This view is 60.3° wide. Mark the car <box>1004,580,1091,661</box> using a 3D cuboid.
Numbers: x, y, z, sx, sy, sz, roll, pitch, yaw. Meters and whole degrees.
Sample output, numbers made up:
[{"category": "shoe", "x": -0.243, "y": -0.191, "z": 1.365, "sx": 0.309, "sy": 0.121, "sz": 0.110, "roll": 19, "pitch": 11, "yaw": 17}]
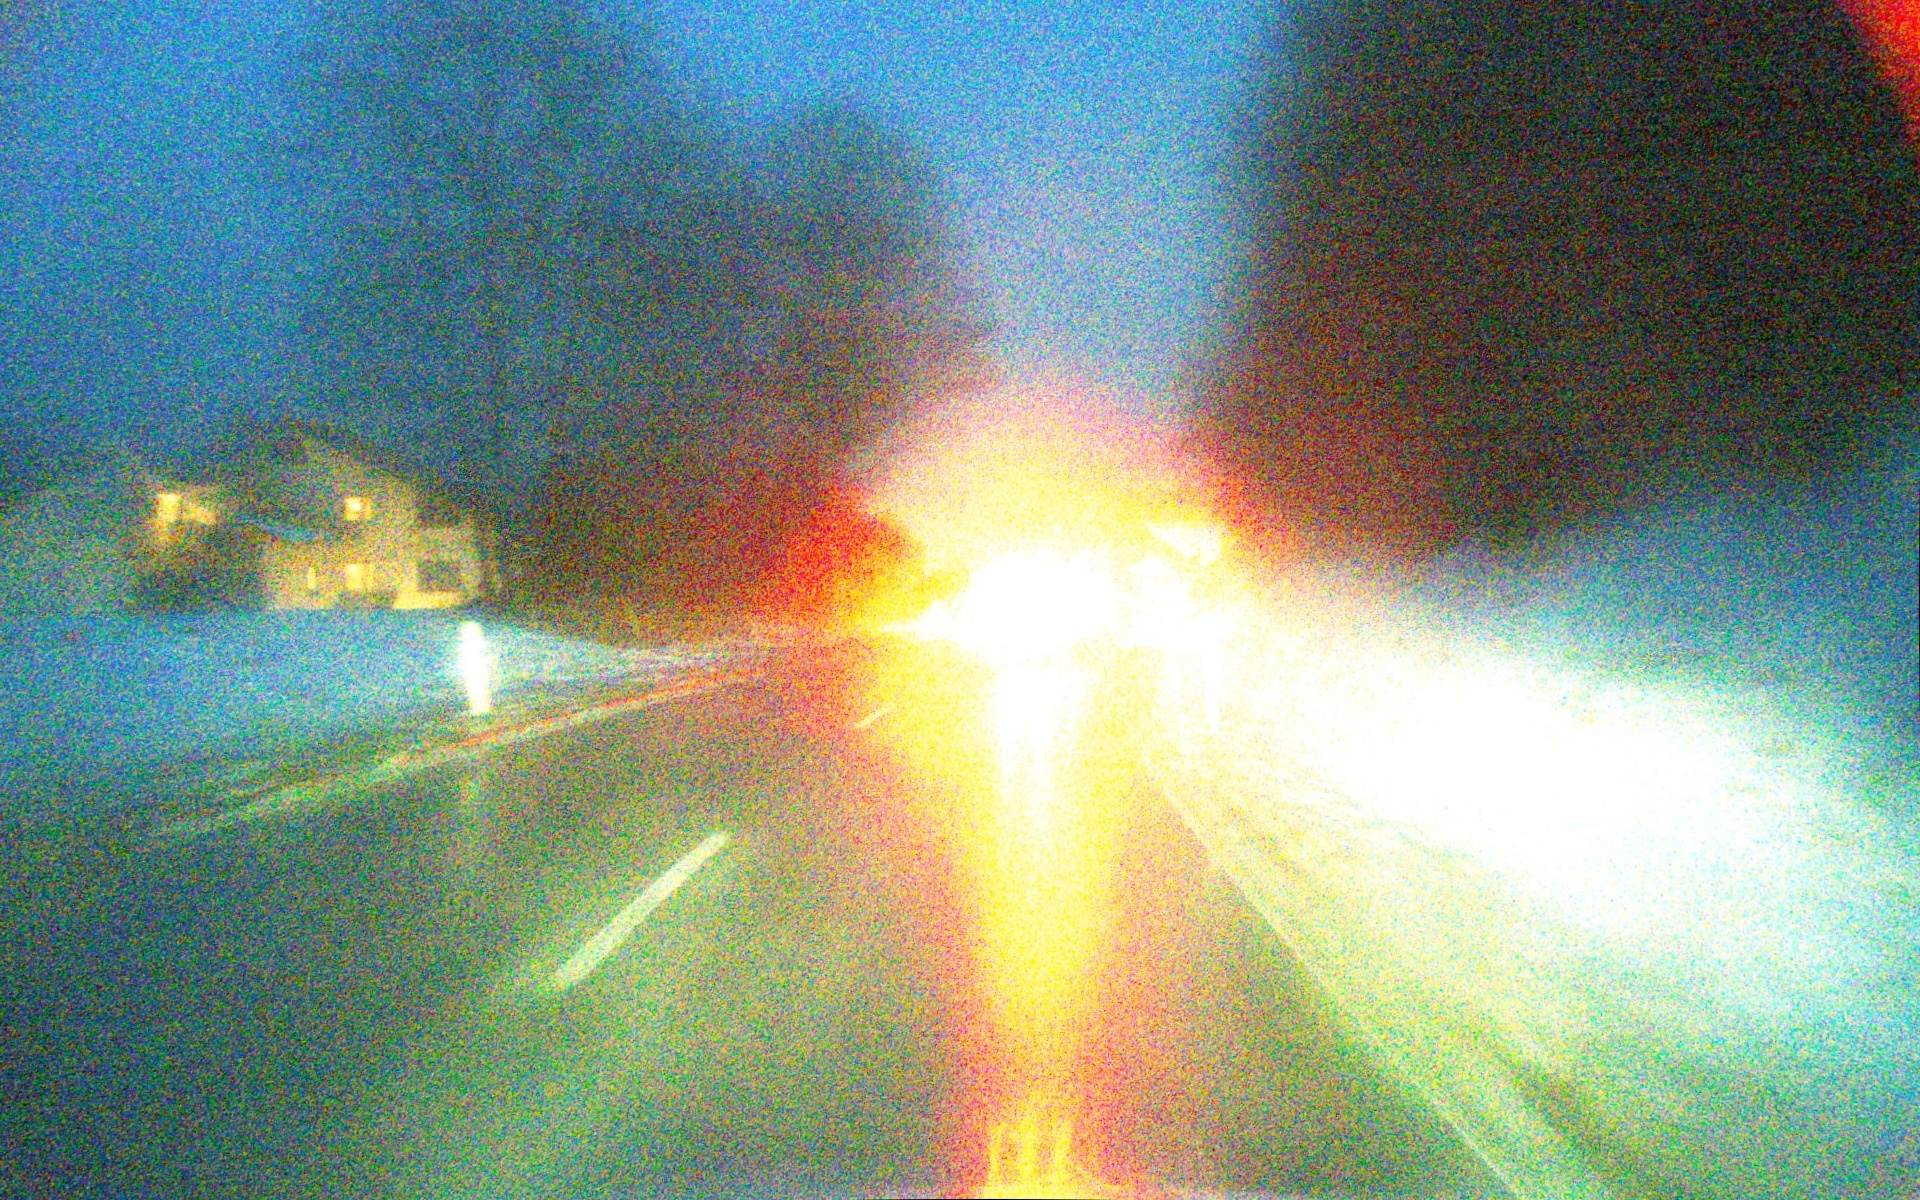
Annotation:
[{"category": "car", "x": 1.886, "y": 0.411, "z": 35.827, "sx": 1.764, "sy": 1.657, "sz": 3.616, "roll": -1, "pitch": 0, "yaw": 3}]

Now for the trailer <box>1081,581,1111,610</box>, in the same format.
[{"category": "trailer", "x": 11.499, "y": -0.376, "z": 140.144, "sx": 1.575, "sy": 2.393, "sz": 4.423, "roll": 1, "pitch": 0, "yaw": -8}]

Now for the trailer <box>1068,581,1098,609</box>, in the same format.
[{"category": "trailer", "x": 10.764, "y": -0.435, "z": 144.875, "sx": 1.600, "sy": 2.406, "sz": 4.643, "roll": 1, "pitch": 0, "yaw": -9}]
